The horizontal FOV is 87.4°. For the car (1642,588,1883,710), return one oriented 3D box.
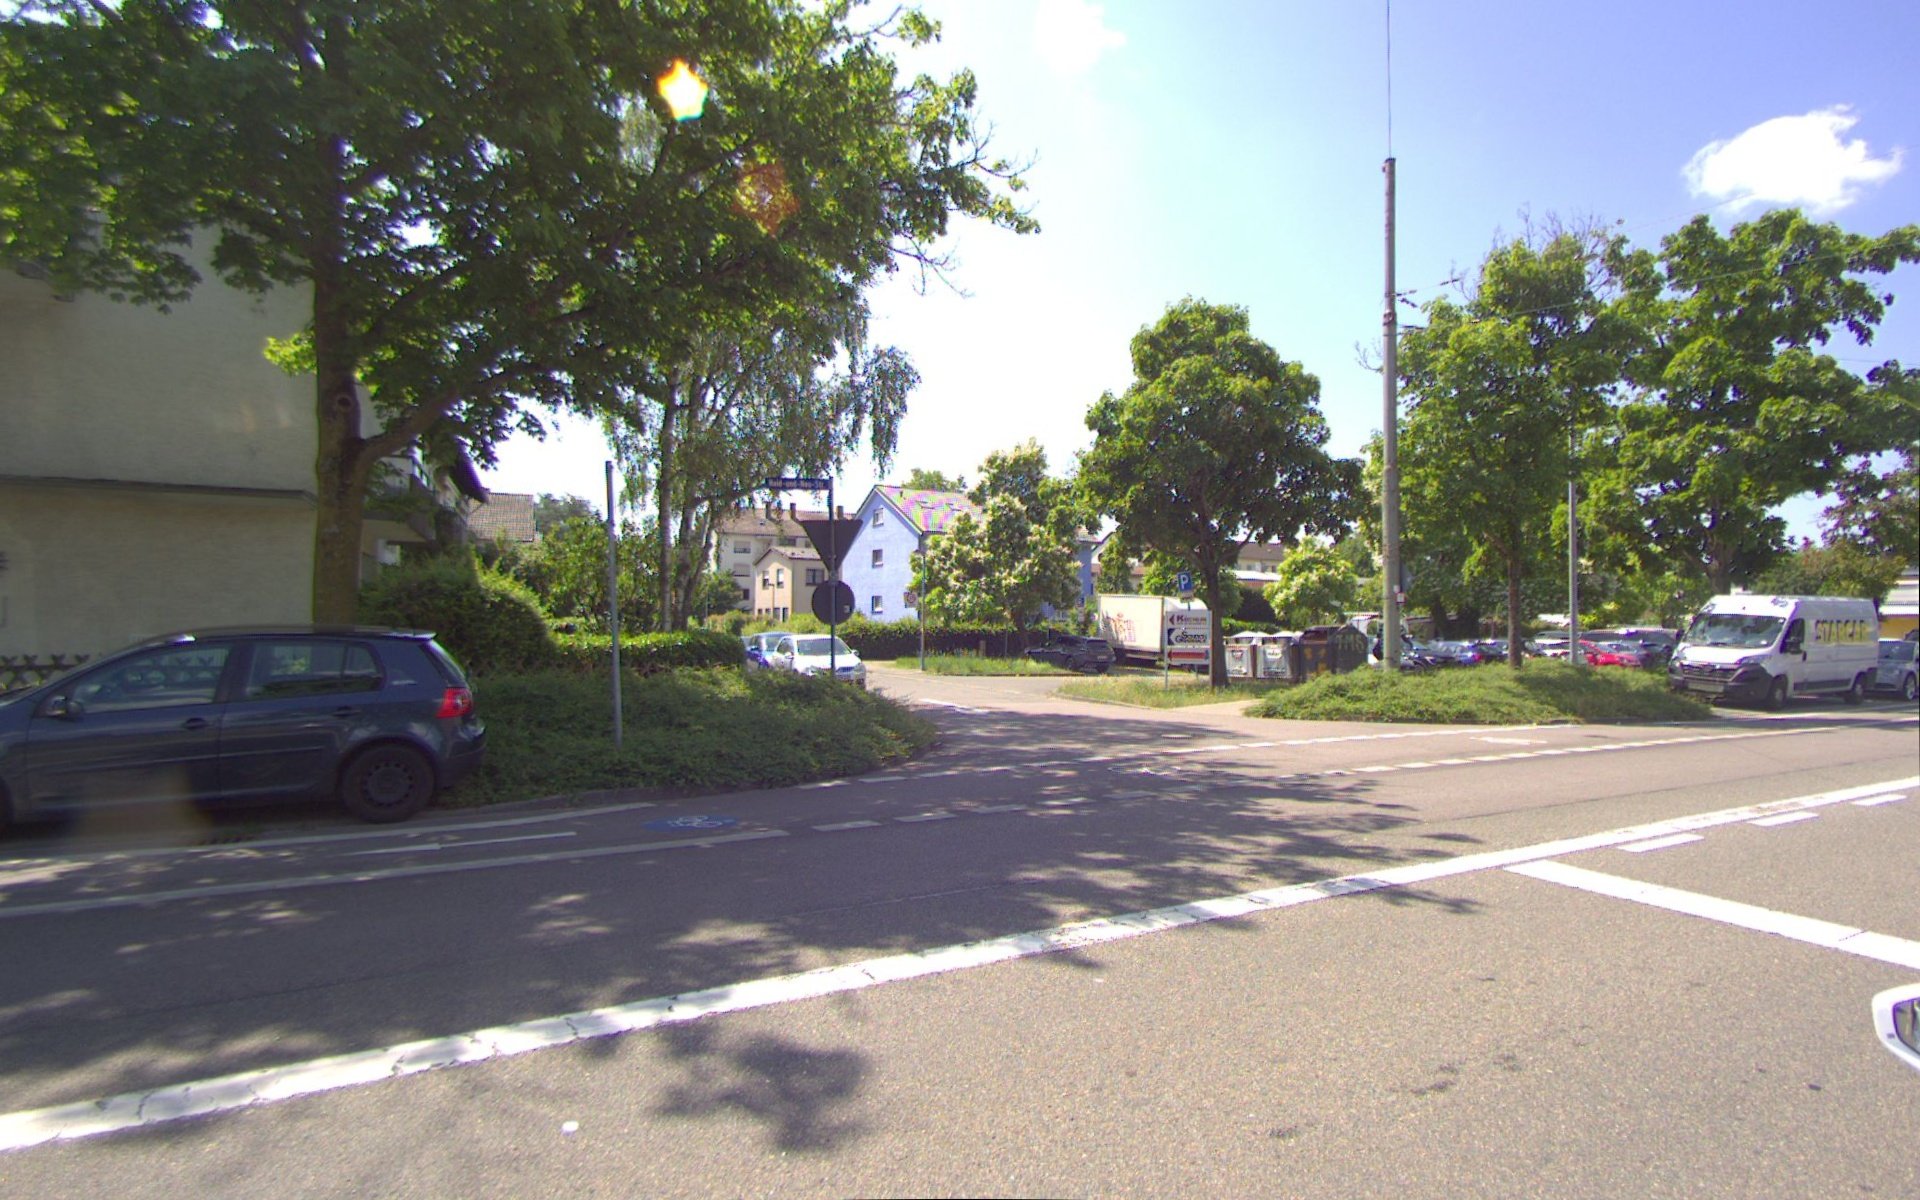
[{"bbox_3d":[18.810,1.080,23.476,6.117,2.520,2.147,1,2,-29],"label":"car"}]

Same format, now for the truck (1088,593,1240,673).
[{"bbox_3d":[8.855,1.438,44.497,2.307,3.270,7.147,1,-2,-32],"label":"truck"}]

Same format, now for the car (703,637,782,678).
[{"bbox_3d":[-7.770,1.985,35.660,1.788,1.334,3.973,1,-2,-27],"label":"car"}]

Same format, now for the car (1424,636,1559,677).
[{"bbox_3d":[19.066,2.005,36.203,1.785,1.357,3.967,1,-2,-31],"label":"car"}]

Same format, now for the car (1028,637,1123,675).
[{"bbox_3d":[4.595,2.203,40.497,1.753,1.417,3.966,1,-2,-32],"label":"car"}]

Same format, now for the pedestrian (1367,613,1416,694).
[{"bbox_3d":[10.127,1.241,23.559,0.960,1.847,0.793,0,-2,32],"label":"pedestrian"}]

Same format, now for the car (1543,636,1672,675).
[{"bbox_3d":[25.731,2.183,40.036,1.784,1.461,3.967,1,-2,-31],"label":"car"}]

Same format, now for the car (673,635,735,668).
[{"bbox_3d":[-11.160,2.199,43.694,1.788,1.334,3.973,1,-2,-27],"label":"car"}]

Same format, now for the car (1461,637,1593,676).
[{"bbox_3d":[21.213,2.076,37.698,1.785,1.357,3.967,1,-2,-31],"label":"car"}]

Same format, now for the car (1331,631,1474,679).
[{"bbox_3d":[14.347,1.750,32.764,1.785,1.461,3.967,1,-2,-31],"label":"car"}]

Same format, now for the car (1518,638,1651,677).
[{"bbox_3d":[23.777,2.161,38.383,1.785,1.357,3.967,1,-2,-31],"label":"car"}]

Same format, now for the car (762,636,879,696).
[{"bbox_3d":[-3.651,1.622,25.705,1.788,1.376,3.973,1,-2,-27],"label":"car"}]

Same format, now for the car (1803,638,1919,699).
[{"bbox_3d":[24.248,1.749,26.429,4.292,1.456,1.860,1,-2,-31],"label":"car"}]

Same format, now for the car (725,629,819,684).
[{"bbox_3d":[-5.813,1.675,30.709,1.788,1.536,3.973,1,-2,-27],"label":"car"}]

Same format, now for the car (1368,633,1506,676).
[{"bbox_3d":[16.212,1.808,34.308,1.785,1.357,3.967,1,-2,-31],"label":"car"}]

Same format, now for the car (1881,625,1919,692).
[{"bbox_3d":[29.574,1.738,30.045,4.221,1.920,1.860,1,-2,-31],"label":"car"}]

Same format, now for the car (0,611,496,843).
[{"bbox_3d":[-5.972,0.877,7.947,4.001,1.500,1.765,1,0,-31],"label":"car"}]
